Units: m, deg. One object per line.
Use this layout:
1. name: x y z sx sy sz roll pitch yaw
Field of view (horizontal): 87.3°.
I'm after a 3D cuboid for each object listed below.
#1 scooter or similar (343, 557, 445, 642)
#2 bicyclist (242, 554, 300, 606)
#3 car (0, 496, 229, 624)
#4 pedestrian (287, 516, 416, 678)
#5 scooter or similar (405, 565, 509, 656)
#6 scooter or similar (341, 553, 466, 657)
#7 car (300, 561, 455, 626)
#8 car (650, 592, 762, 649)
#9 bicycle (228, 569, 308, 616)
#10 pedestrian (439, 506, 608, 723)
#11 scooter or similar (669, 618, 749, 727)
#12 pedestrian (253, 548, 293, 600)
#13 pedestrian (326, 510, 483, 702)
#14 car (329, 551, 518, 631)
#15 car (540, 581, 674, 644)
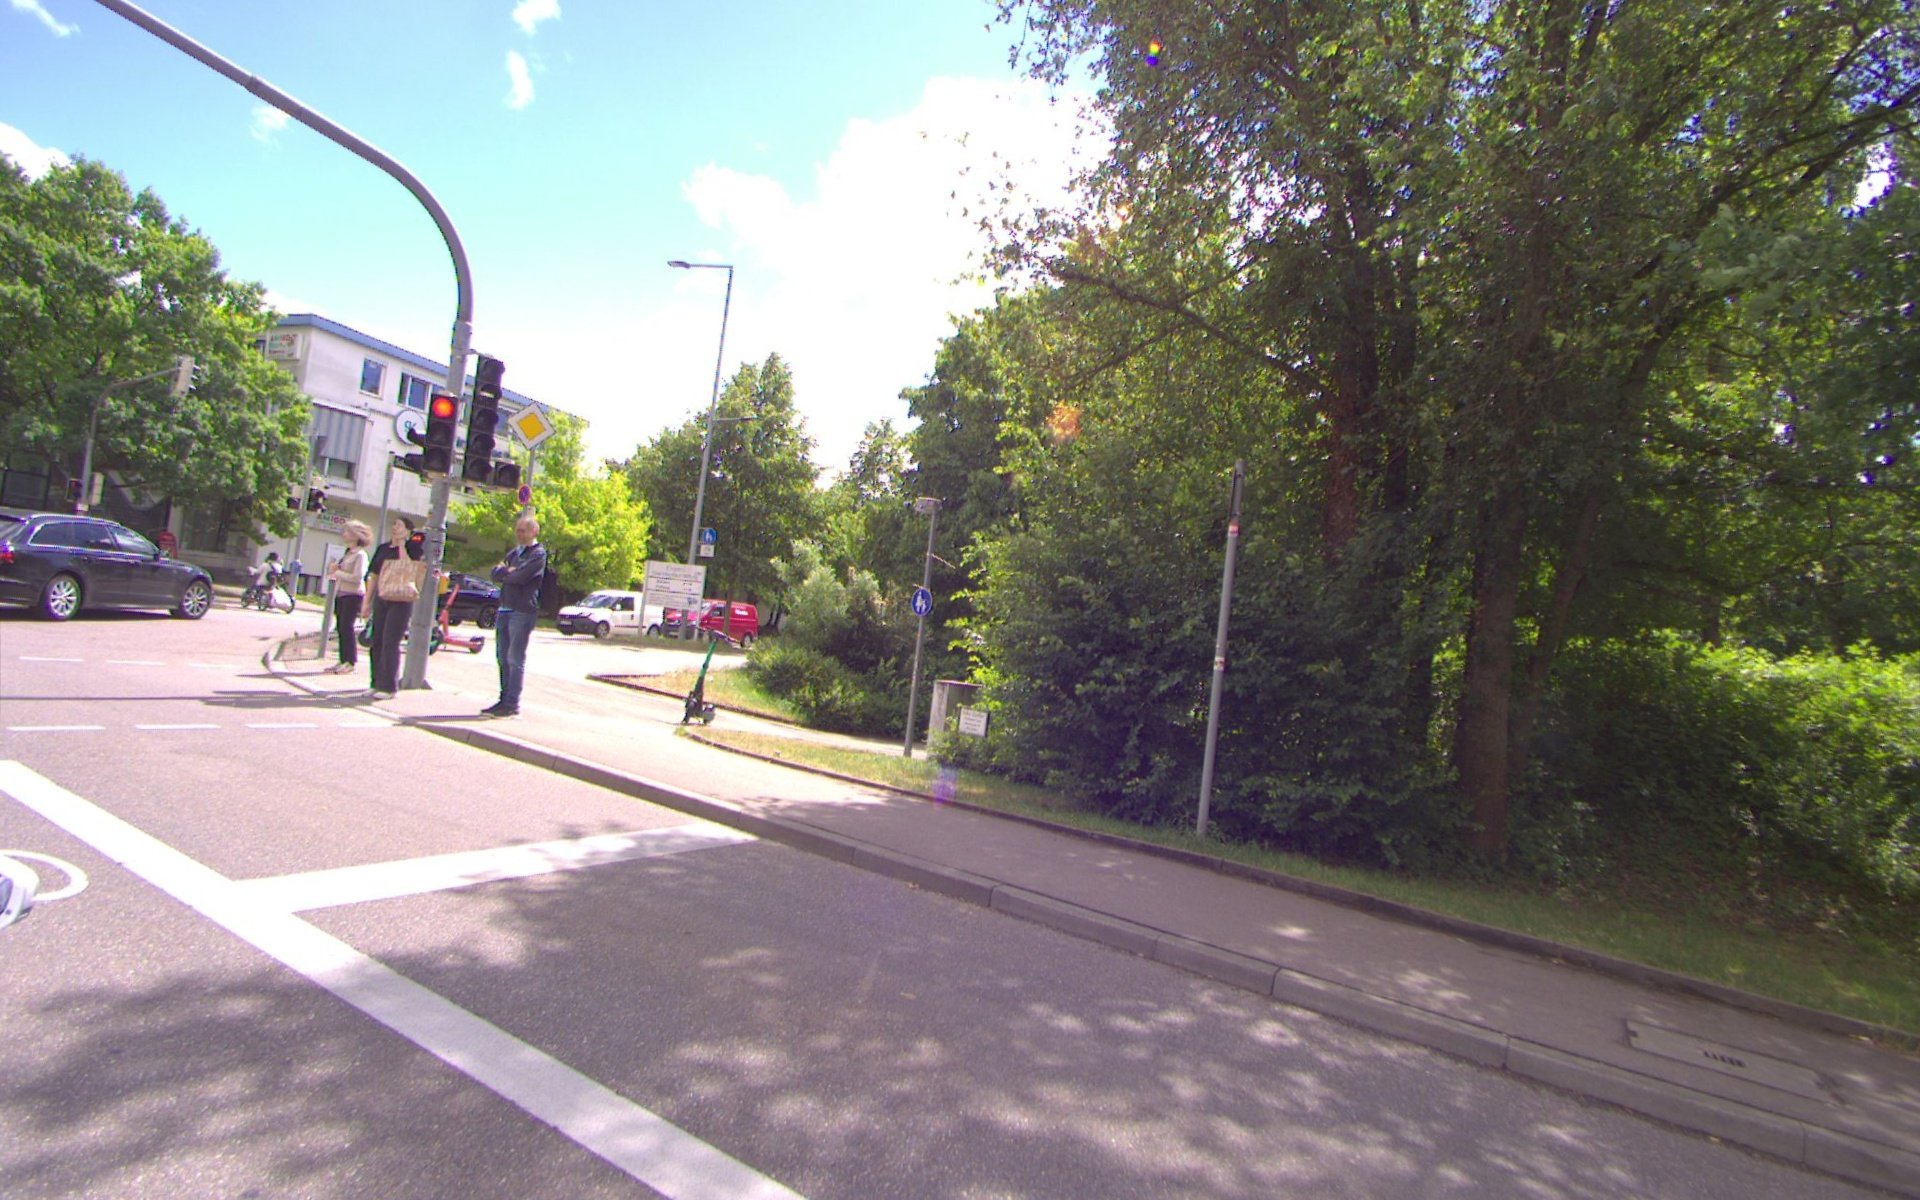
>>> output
1. scooter or similar: -8.941 0.022 15.947 0.533 1.168 1.362 9 -3 7
2. bicyclist: -15.721 -0.446 22.951 0.625 1.034 0.793 7 -2 32
3. car: -13.134 -0.567 14.740 1.967 1.571 4.516 7 -2 -10
4. pedestrian: -6.953 -0.034 11.491 0.950 1.694 0.860 7 -1 -43
5. scooter or similar: -7.931 0.186 15.915 0.547 1.254 1.231 8 -3 23
6. scooter or similar: -7.881 0.095 14.282 0.455 1.292 1.344 8 -1 38
7. car: -19.041 -0.171 33.075 1.963 1.573 3.923 7 -2 21
8. car: -10.603 0.901 42.384 1.964 1.885 4.822 5 -3 23
9. bicycle: -15.829 -0.185 22.998 1.778 0.828 0.793 6 -2 32
10. pedestrian: -4.295 0.162 9.946 0.881 1.964 0.968 7 -1 28
11. scooter or similar: -3.344 0.999 13.528 0.706 1.287 1.243 10 -7 -7
12. pedestrian: -23.634 -0.900 34.608 0.895 1.662 0.767 6 -2 42
13. pedestrian: -5.588 0.078 10.163 0.758 1.787 0.936 7 0 20
14. car: -15.875 -0.210 30.050 1.964 1.737 4.574 7 -2 25
15. car: -12.948 0.511 37.220 1.963 1.737 4.576 7 -2 23
